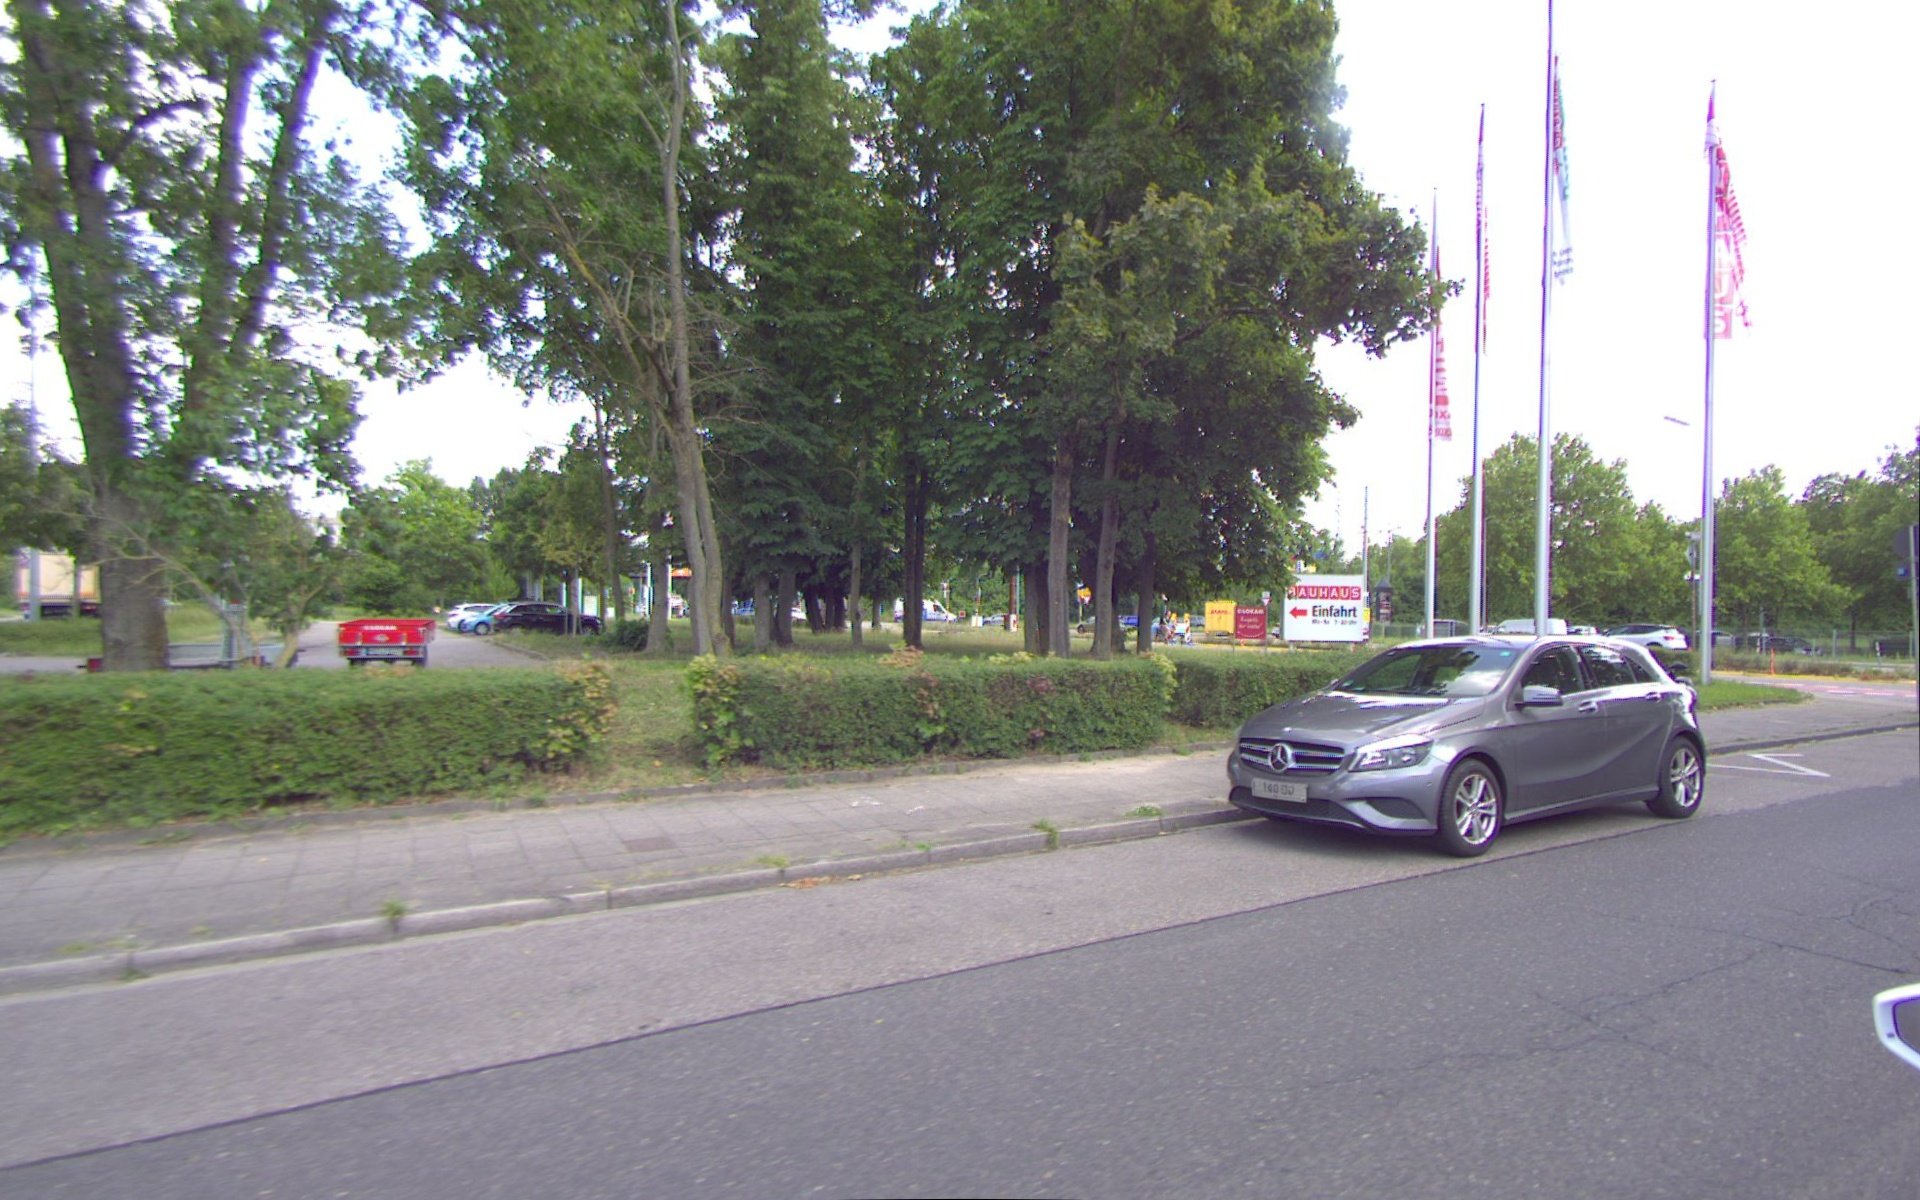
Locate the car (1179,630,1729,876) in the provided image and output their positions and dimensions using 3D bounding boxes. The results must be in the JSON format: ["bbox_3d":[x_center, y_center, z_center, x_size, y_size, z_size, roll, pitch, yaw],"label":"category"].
[{"bbox_3d":[3.887,0.976,7.736,4.279,1.438,1.702,1,-3,-30],"label":"car"}]

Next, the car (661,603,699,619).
[{"bbox_3d":[-34.073,1.375,122.289,3.919,1.808,1.893,1,-1,5],"label":"car"}]

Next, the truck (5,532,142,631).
[{"bbox_3d":[-40.408,-0.766,46.129,2.953,4.001,8.283,3,-1,-30],"label":"truck"}]

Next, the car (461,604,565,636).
[{"bbox_3d":[-21.551,0.958,48.489,4.361,1.431,1.983,2,0,-31],"label":"car"}]

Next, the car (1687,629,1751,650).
[{"bbox_3d":[67.804,3.504,89.740,4.214,1.744,1.921,1,0,2],"label":"car"}]

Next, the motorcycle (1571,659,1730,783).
[{"bbox_3d":[7.052,1.190,10.241,1.781,1.153,0.618,1,-3,-31],"label":"motorcycle"}]

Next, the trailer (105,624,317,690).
[{"bbox_3d":[-13.186,0.940,18.047,2.158,0.925,4.580,0,0,-25],"label":"trailer"}]

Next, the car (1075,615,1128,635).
[{"bbox_3d":[10.541,1.861,75.177,1.778,1.424,3.994,1,0,-32],"label":"car"}]

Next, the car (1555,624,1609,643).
[{"bbox_3d":[59.278,3.196,95.832,3.920,1.684,1.921,1,0,2],"label":"car"}]

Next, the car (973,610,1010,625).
[{"bbox_3d":[3.255,1.798,104.049,3.832,1.523,1.875,1,0,2],"label":"car"}]

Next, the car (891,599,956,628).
[{"bbox_3d":[-3.311,1.236,92.439,5.791,2.475,2.212,1,0,3],"label":"car"}]

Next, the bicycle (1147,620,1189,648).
[{"bbox_3d":[9.315,1.512,45.026,0.723,1.181,1.797,0,-1,-35],"label":"bicycle"}]

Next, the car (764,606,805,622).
[{"bbox_3d":[-18.125,1.408,103.740,3.832,1.523,1.875,1,0,2],"label":"car"}]

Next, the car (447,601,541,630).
[{"bbox_3d":[-24.707,0.846,53.293,4.361,1.431,1.983,2,0,-31],"label":"car"}]

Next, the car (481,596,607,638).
[{"bbox_3d":[-16.072,0.674,38.918,4.308,1.531,1.560,2,-1,-32],"label":"car"}]

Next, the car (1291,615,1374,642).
[{"bbox_3d":[21.410,1.597,57.837,1.903,1.424,4.196,1,0,-32],"label":"car"}]

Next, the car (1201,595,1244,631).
[{"bbox_3d":[20.115,1.005,76.773,2.163,2.612,6.402,1,-1,23],"label":"car"}]

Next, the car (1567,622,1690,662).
[{"bbox_3d":[29.691,1.825,44.723,1.903,1.600,4.196,1,0,-32],"label":"car"}]

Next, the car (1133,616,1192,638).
[{"bbox_3d":[14.124,1.899,70.136,1.778,1.424,3.994,1,0,-32],"label":"car"}]

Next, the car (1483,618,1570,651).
[{"bbox_3d":[41.111,2.481,73.008,1.779,2.240,5.254,2,-1,-33],"label":"car"}]

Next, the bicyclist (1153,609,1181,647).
[{"bbox_3d":[9.296,1.263,45.038,0.727,1.670,1.000,0,0,-36],"label":"bicyclist"}]

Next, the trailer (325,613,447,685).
[{"bbox_3d":[-11.019,0.880,19.503,1.691,1.206,3.806,0,0,-25],"label":"trailer"}]

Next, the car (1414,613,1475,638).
[{"bbox_3d":[42.956,2.248,89.179,4.479,2.164,1.861,1,0,1],"label":"car"}]
